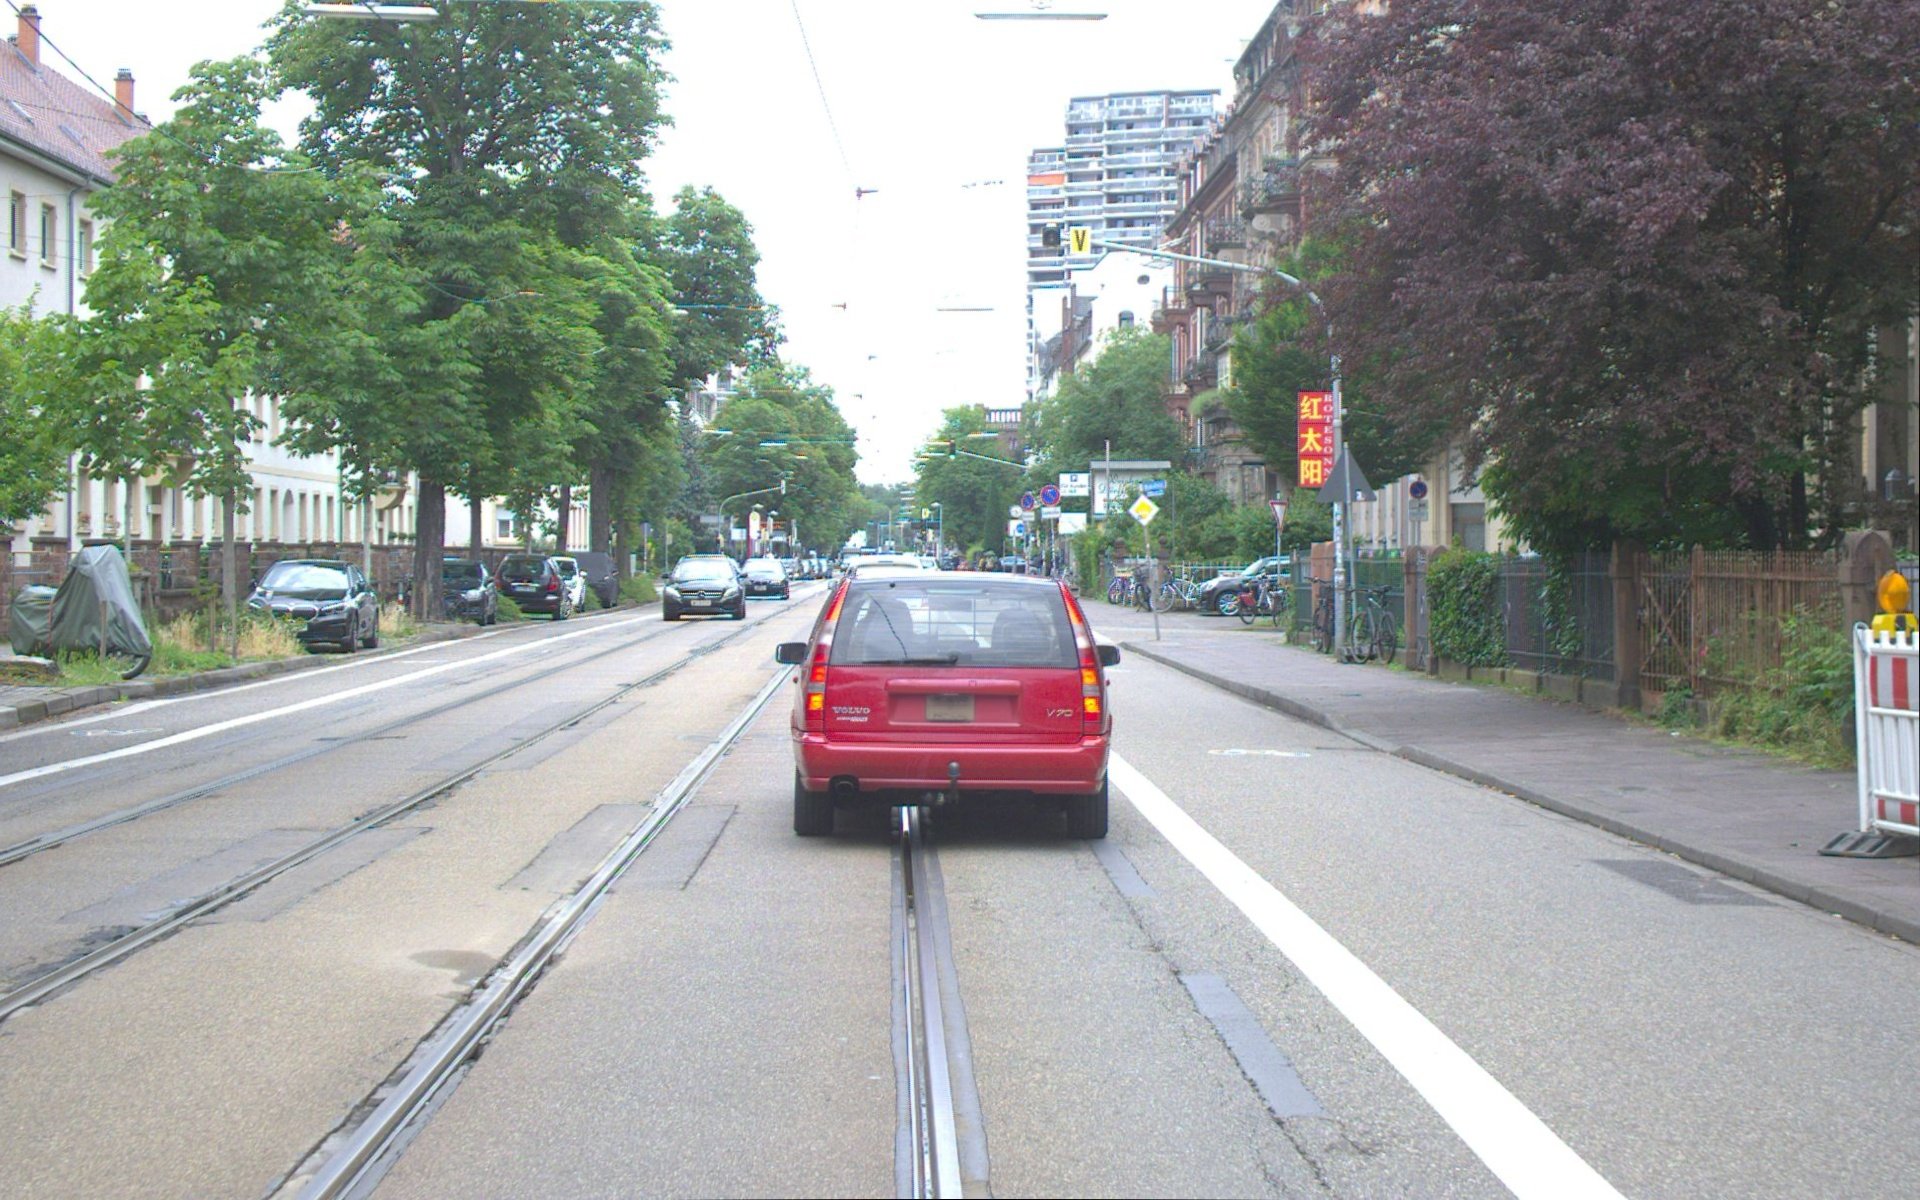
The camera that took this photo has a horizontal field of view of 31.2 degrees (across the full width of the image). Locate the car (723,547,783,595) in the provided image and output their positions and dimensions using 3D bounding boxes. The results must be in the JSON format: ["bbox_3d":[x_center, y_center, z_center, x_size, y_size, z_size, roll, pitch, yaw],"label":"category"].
[{"bbox_3d":[-7.188,-1.019,119.821,1.894,1.605,4.500,1,1,-1],"label":"car"}]

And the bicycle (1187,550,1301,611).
[{"bbox_3d":[7.774,-0.535,94.203,2.975,1.619,1.050,1,1,-3],"label":"bicycle"}]

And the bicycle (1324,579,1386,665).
[{"bbox_3d":[5.282,0.282,46.020,0.523,1.096,2.176,0,1,-1],"label":"bicycle"}]

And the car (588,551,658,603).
[{"bbox_3d":[-9.862,-0.689,100.782,1.720,1.481,4.000,0,1,-1],"label":"car"}]

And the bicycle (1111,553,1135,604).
[{"bbox_3d":[4.553,-0.603,95.873,0.551,1.395,1.734,0,1,-1],"label":"bicycle"}]

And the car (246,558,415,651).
[{"bbox_3d":[-10.014,0.052,55.006,1.890,1.393,4.417,1,0,0],"label":"car"}]

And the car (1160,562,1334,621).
[{"bbox_3d":[6.887,-0.223,82.314,3.988,1.357,1.891,0,1,9],"label":"car"}]

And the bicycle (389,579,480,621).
[{"bbox_3d":[-10.703,-0.003,70.055,1.748,0.841,0.684,1,1,0],"label":"bicycle"}]

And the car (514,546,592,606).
[{"bbox_3d":[-11.390,-0.691,96.368,1.713,1.575,4.000,2,1,-1],"label":"car"}]

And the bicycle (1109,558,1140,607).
[{"bbox_3d":[4.409,-0.471,92.422,0.708,1.296,1.904,0,1,-1],"label":"bicycle"}]

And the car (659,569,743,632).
[{"bbox_3d":[-5.950,-0.015,79.323,1.755,1.375,4.027,0,1,-2],"label":"car"}]

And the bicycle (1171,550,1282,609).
[{"bbox_3d":[7.476,-0.571,96.415,2.975,1.619,1.050,1,1,-3],"label":"bicycle"}]

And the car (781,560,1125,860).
[{"bbox_3d":[-0.076,0.530,19.134,1.689,1.436,3.743,2,1,-1],"label":"car"}]

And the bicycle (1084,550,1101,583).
[{"bbox_3d":[4.469,-1.139,115.857,0.490,1.095,1.734,0,1,-1],"label":"bicycle"}]

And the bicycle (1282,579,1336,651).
[{"bbox_3d":[5.168,0.217,50.984,0.523,1.027,2.176,0,1,-1],"label":"bicycle"}]

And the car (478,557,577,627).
[{"bbox_3d":[-10.014,-0.204,79.775,1.851,1.558,3.943,1,1,-1],"label":"car"}]

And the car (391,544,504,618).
[{"bbox_3d":[-10.679,-0.409,71.836,1.718,1.477,4.000,1,1,0],"label":"car"}]

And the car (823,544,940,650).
[{"bbox_3d":[-1.228,-0.075,55.355,1.719,1.619,3.941,1,1,1],"label":"car"}]

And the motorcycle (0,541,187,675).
[{"bbox_3d":[-10.107,0.082,39.817,2.269,1.506,0.925,1,-1,34],"label":"motorcycle"}]

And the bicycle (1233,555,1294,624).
[{"bbox_3d":[6.790,-0.242,76.756,0.918,1.502,2.379,1,1,16],"label":"bicycle"}]
